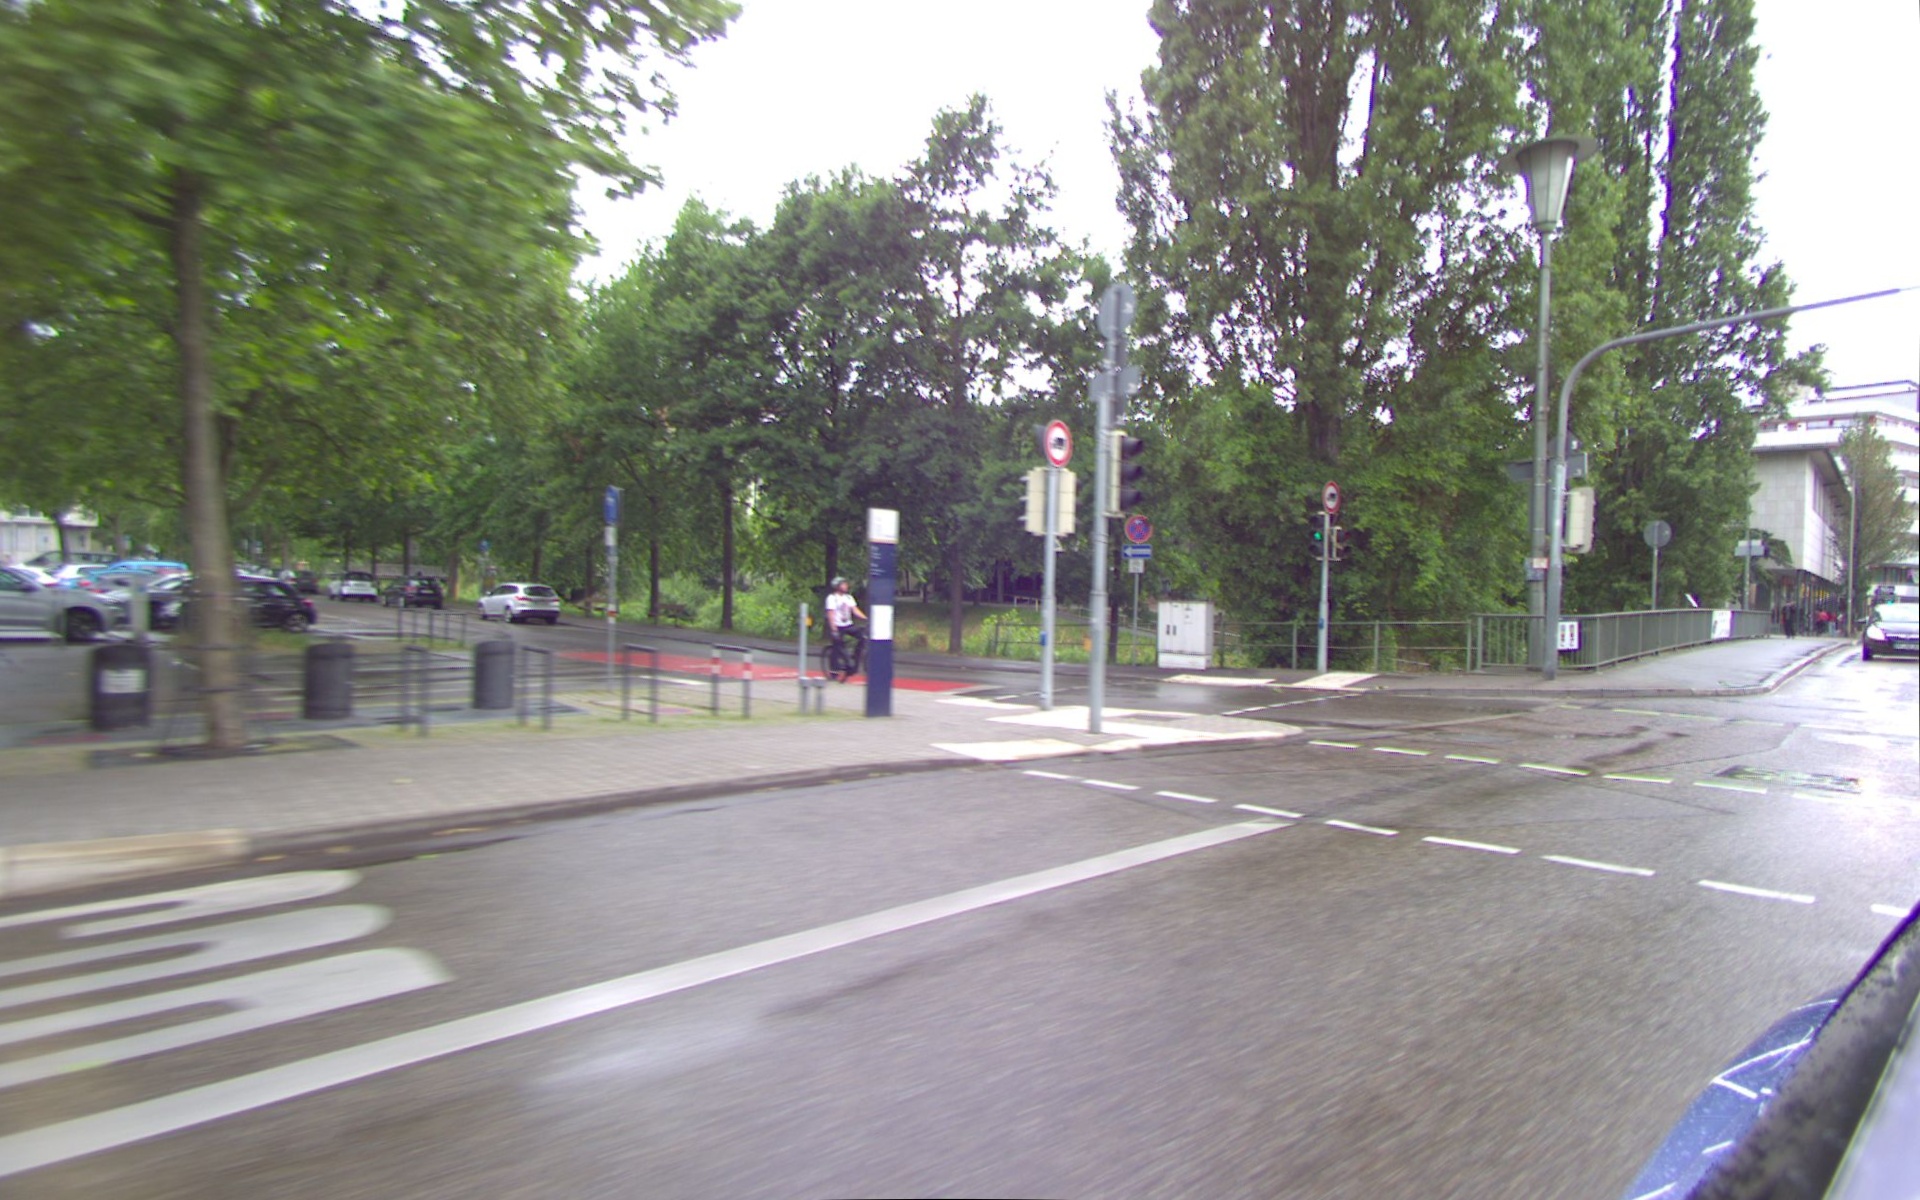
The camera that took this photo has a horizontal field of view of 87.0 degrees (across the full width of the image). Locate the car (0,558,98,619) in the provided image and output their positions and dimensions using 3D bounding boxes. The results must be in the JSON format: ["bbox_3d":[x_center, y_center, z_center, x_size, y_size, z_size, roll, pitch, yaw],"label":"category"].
[{"bbox_3d":[-27.244,-0.337,28.944,1.777,1.709,3.819,1,1,45],"label":"car"}]

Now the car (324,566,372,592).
[{"bbox_3d":[-32.264,-1.103,53.318,1.607,1.291,3.593,0,1,-41],"label":"car"}]

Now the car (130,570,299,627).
[{"bbox_3d":[-21.891,-0.054,29.799,3.817,1.566,1.778,0,1,-44],"label":"car"}]

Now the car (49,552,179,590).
[{"bbox_3d":[-34.676,-1.158,41.533,1.636,1.442,3.981,1,1,45],"label":"car"}]

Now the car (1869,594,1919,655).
[{"bbox_3d":[24.812,0.663,25.997,1.893,1.417,4.290,5,2,45],"label":"car"}]

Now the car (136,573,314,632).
[{"bbox_3d":[-20.422,0.057,28.203,3.817,1.525,1.778,0,1,-44],"label":"car"}]

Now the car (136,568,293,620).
[{"bbox_3d":[-23.617,-0.187,32.141,3.817,1.566,1.713,0,1,-44],"label":"car"}]

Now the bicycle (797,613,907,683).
[{"bbox_3d":[-1.921,0.827,17.910,1.917,1.108,0.643,2,1,30],"label":"bicycle"}]

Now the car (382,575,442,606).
[{"bbox_3d":[-25.313,-0.465,46.707,1.691,1.291,3.594,0,2,-41],"label":"car"}]

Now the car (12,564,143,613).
[{"bbox_3d":[-32.444,-0.421,37.251,1.777,1.709,3.540,1,1,45],"label":"car"}]

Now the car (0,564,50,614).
[{"bbox_3d":[-32.534,-0.383,33.250,1.777,1.628,3.819,1,1,45],"label":"car"}]

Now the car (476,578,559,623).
[{"bbox_3d":[-16.523,-0.023,37.685,3.816,1.481,1.444,3,2,43],"label":"car"}]

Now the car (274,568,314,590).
[{"bbox_3d":[-40.293,-1.274,61.178,1.558,1.291,3.592,0,1,-41],"label":"car"}]

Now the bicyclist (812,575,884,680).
[{"bbox_3d":[-1.981,0.466,17.963,0.979,1.792,0.789,2,1,30],"label":"bicyclist"}]

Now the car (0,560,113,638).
[{"bbox_3d":[-21.908,-0.032,22.651,1.777,1.709,4.373,1,1,45],"label":"car"}]

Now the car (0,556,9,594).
[{"bbox_3d":[-38.152,-0.953,37.988,1.636,1.442,3.540,1,1,45],"label":"car"}]
